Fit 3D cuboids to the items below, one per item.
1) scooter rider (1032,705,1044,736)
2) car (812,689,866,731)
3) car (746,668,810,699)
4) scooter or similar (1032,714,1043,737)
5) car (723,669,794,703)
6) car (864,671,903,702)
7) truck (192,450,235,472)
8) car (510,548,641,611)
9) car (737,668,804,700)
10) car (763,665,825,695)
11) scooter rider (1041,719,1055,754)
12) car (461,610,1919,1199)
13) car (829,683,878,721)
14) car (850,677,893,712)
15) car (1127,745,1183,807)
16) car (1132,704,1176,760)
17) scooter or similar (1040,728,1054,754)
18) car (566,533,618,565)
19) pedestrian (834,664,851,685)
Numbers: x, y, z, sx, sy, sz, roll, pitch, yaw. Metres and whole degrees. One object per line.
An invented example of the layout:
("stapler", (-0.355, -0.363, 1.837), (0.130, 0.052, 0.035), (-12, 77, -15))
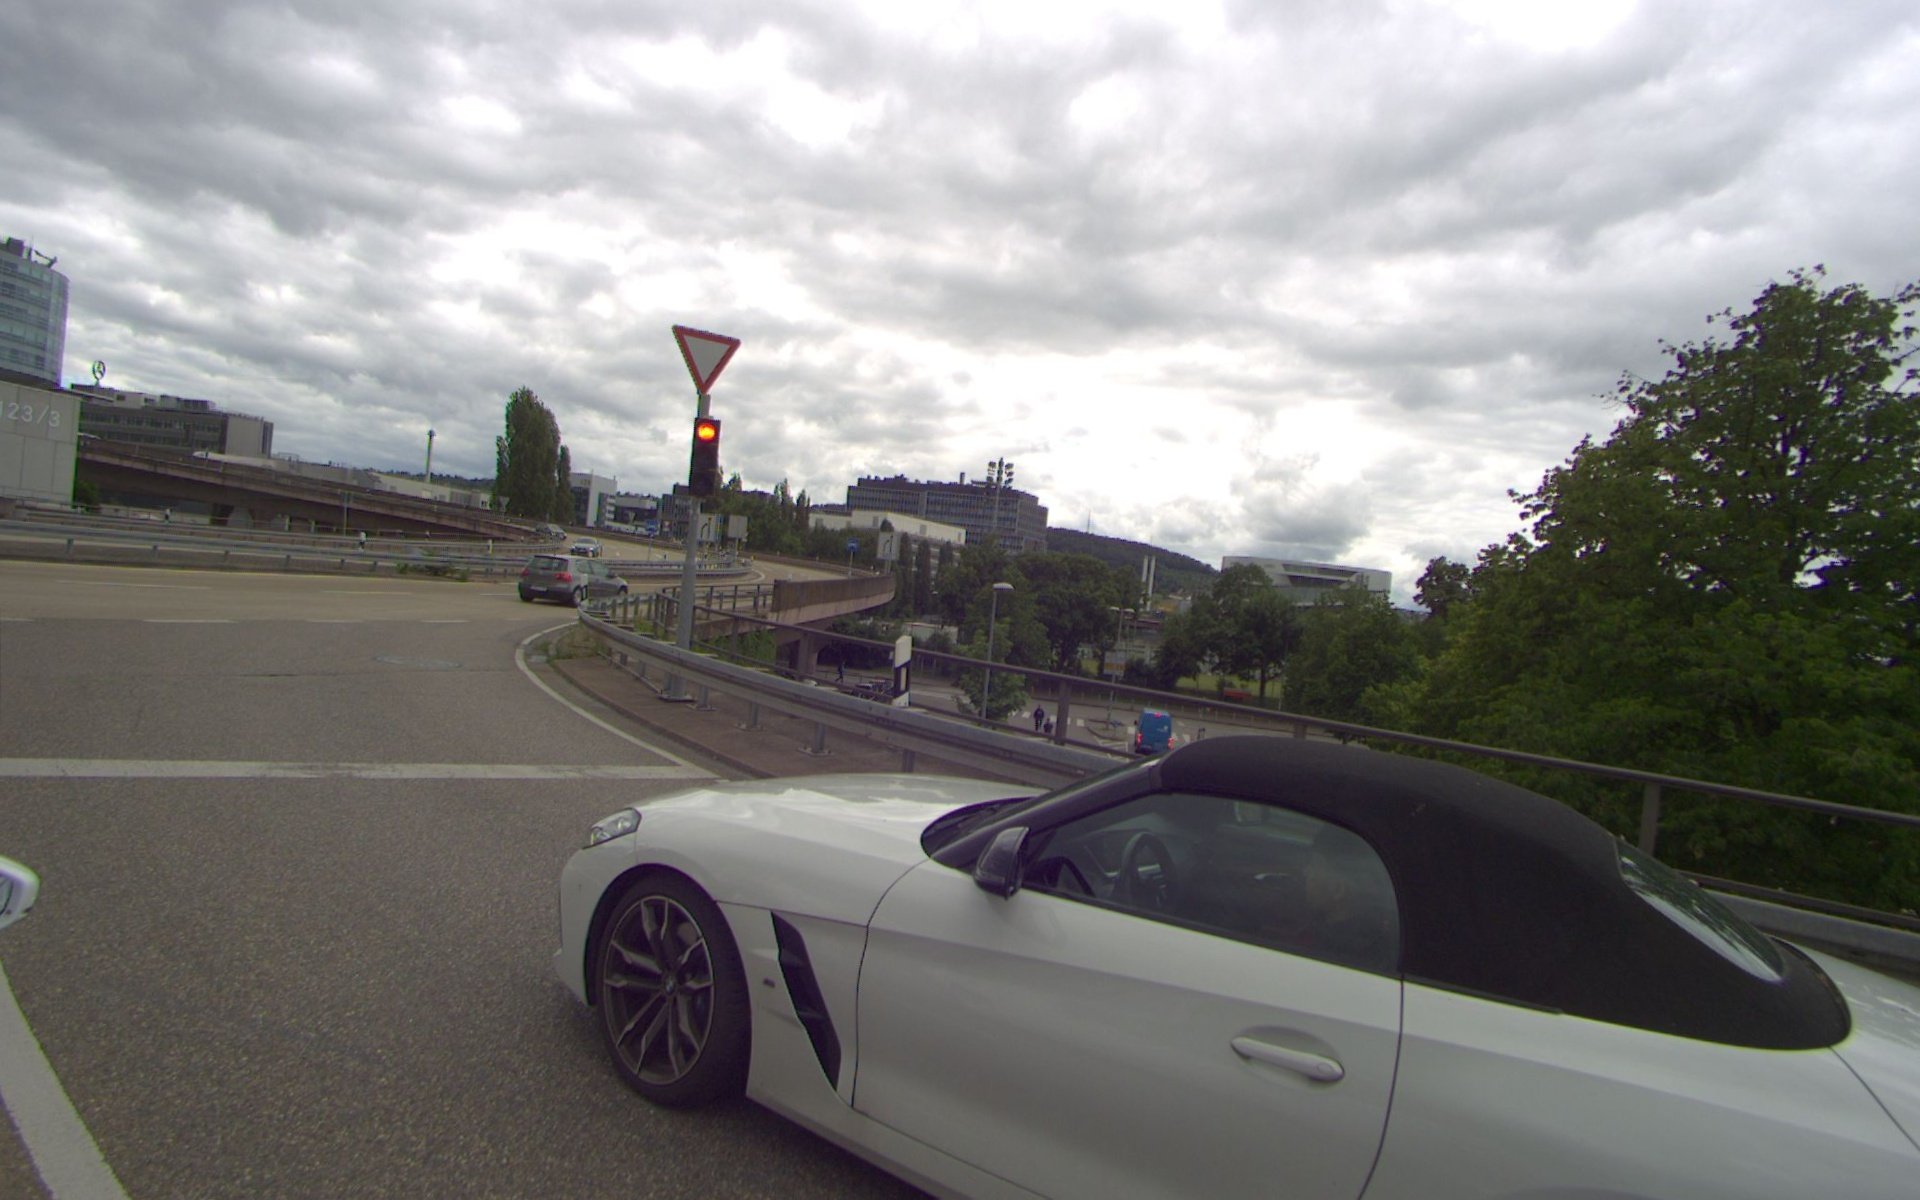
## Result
("scooter rider", (4.704, 7.283, 60.678), (0.482, 1.761, 0.513), (8, 2, 2))
("car", (-6.203, 5.657, 52.025), (1.792, 1.553, 4.000), (8, 0, 6))
("car", (-11.989, 5.505, 66.409), (3.792, 1.371, 1.826), (8, 1, 1))
("scooter or similar", (4.653, 7.564, 60.699), (0.482, 1.199, 1.072), (8, 1, 3))
("car", (-12.376, 5.276, 61.947), (3.792, 1.371, 1.826), (8, 1, 1))
("car", (-5.172, 5.853, 68.672), (1.792, 1.553, 4.000), (8, 0, 6))
("truck", (-111.458, -20.741, 150.234), (1.968, 2.194, 4.600), (7, -4, 34))
("car", (-11.422, -0.553, 30.215), (1.697, 1.479, 4.247), (6, -1, 8))
("car", (-12.098, 5.365, 64.288), (3.792, 1.371, 1.826), (8, 1, 1))
("car", (-11.368, 5.499, 69.184), (3.792, 1.371, 1.826), (8, 1, 1))
("scooter rider", (4.740, 7.347, 54.367), (0.481, 1.776, 0.548), (8, 2, 11))
("car", (0.589, 0.985, 3.039), (4.195, 1.306, 1.808), (7, -2, 34))
("car", (-5.944, 5.722, 56.829), (1.792, 1.553, 4.000), (8, 0, 6))
("car", (-5.475, 5.853, 62.763), (1.792, 1.553, 4.195), (8, 0, 6))
("car", (8.668, 7.701, 44.417), (1.978, 1.883, 4.868), (10, -2, 13))
("car", (11.539, 7.838, 60.289), (1.978, 2.617, 5.399), (10, -2, 9))
("scooter or similar", (4.692, 7.632, 54.397), (0.481, 1.199, 1.073), (8, 1, 11))
("car", (-29.031, -4.023, 79.567), (1.879, 1.679, 4.756), (9, -4, 5))
("pedestrian", (-9.017, 5.727, 77.330), (0.898, 1.514, 0.750), (8, -3, 11))
